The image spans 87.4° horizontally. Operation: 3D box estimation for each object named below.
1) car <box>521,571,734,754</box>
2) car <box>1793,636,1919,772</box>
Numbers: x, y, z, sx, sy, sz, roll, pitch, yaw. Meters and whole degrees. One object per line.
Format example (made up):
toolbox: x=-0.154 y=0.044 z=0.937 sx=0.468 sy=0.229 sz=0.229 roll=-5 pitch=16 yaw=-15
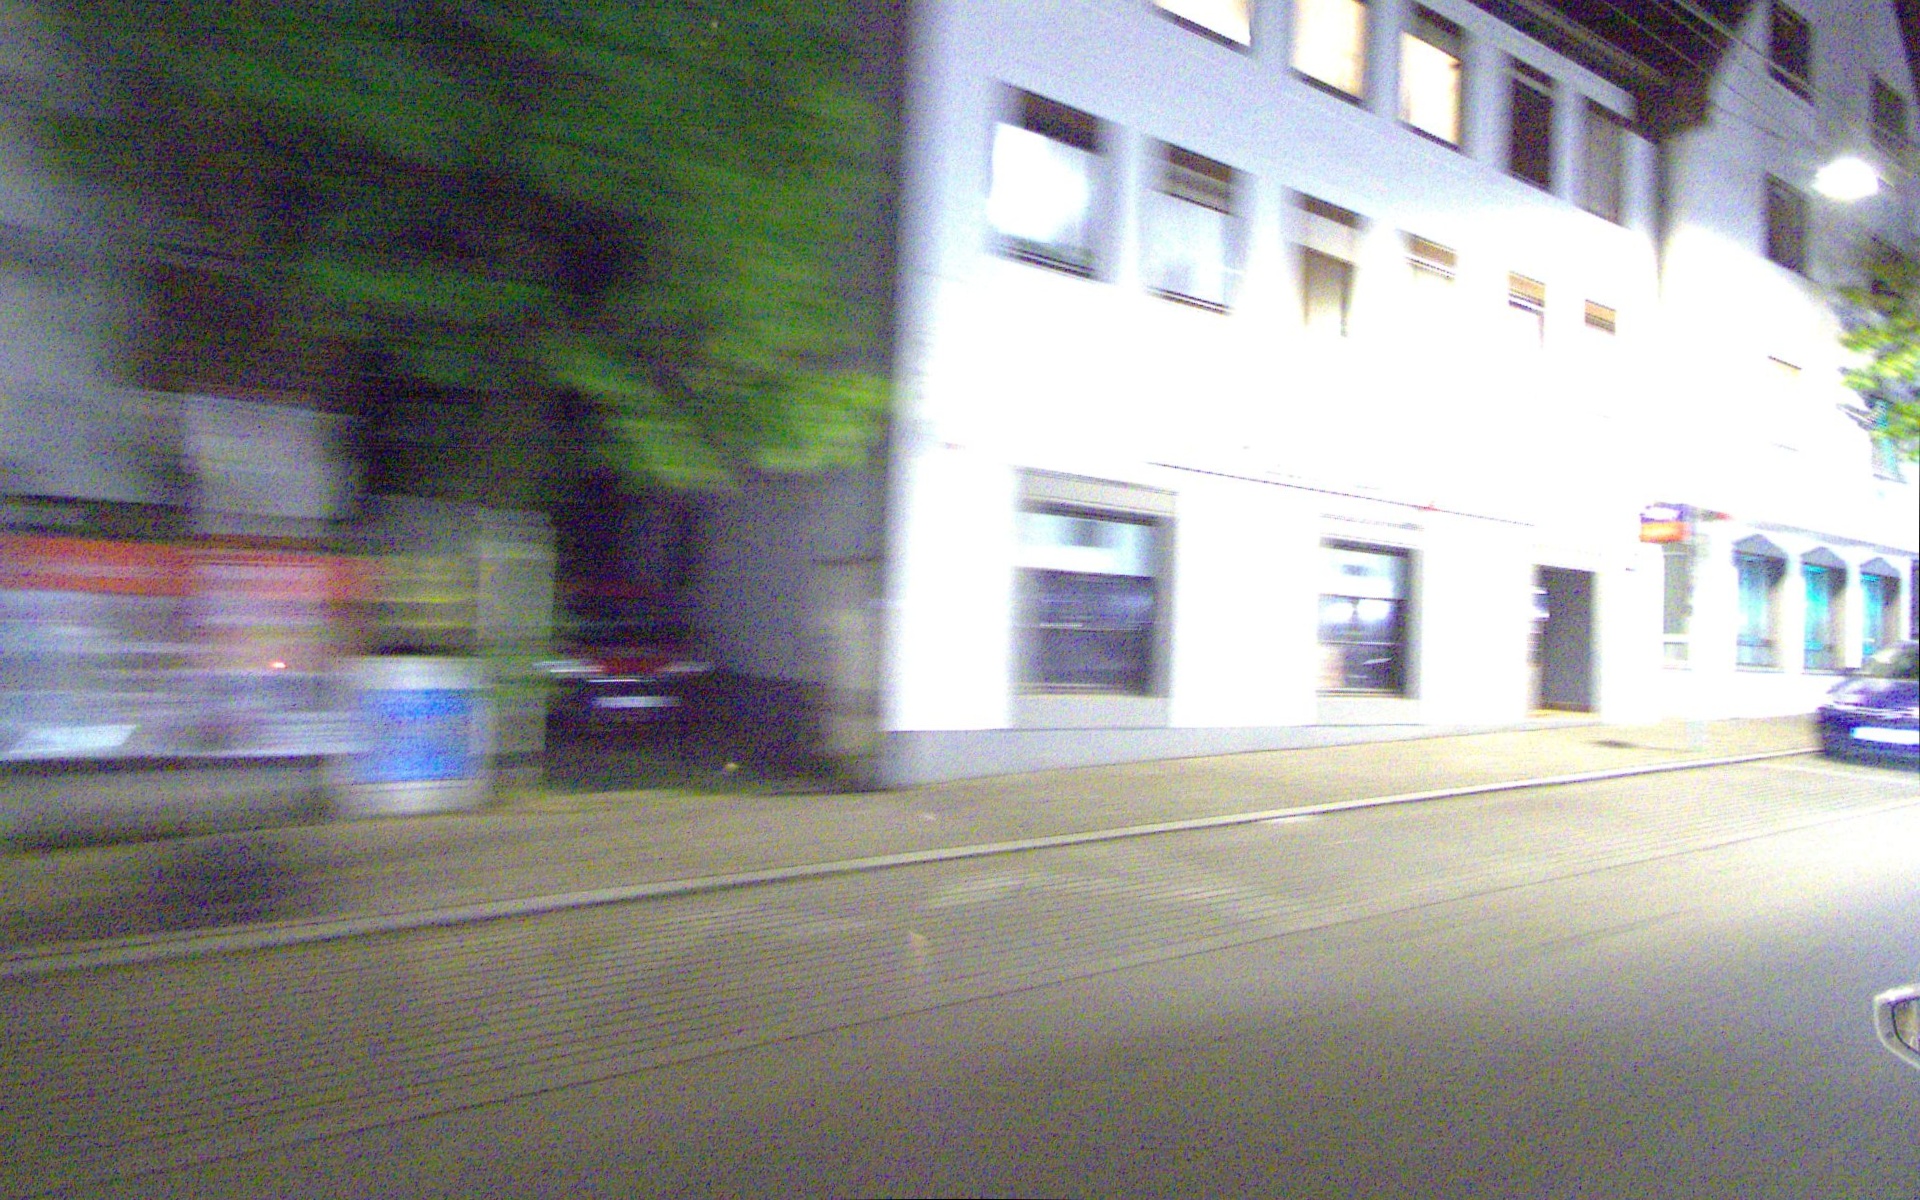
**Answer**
car: x=-4.301 y=0.642 z=12.489 sx=1.766 sy=1.828 sz=4.474 roll=2 pitch=0 yaw=-28
car: x=12.163 y=1.211 z=12.332 sx=4.155 sy=1.462 sz=1.663 roll=2 pitch=-1 yaw=-30
